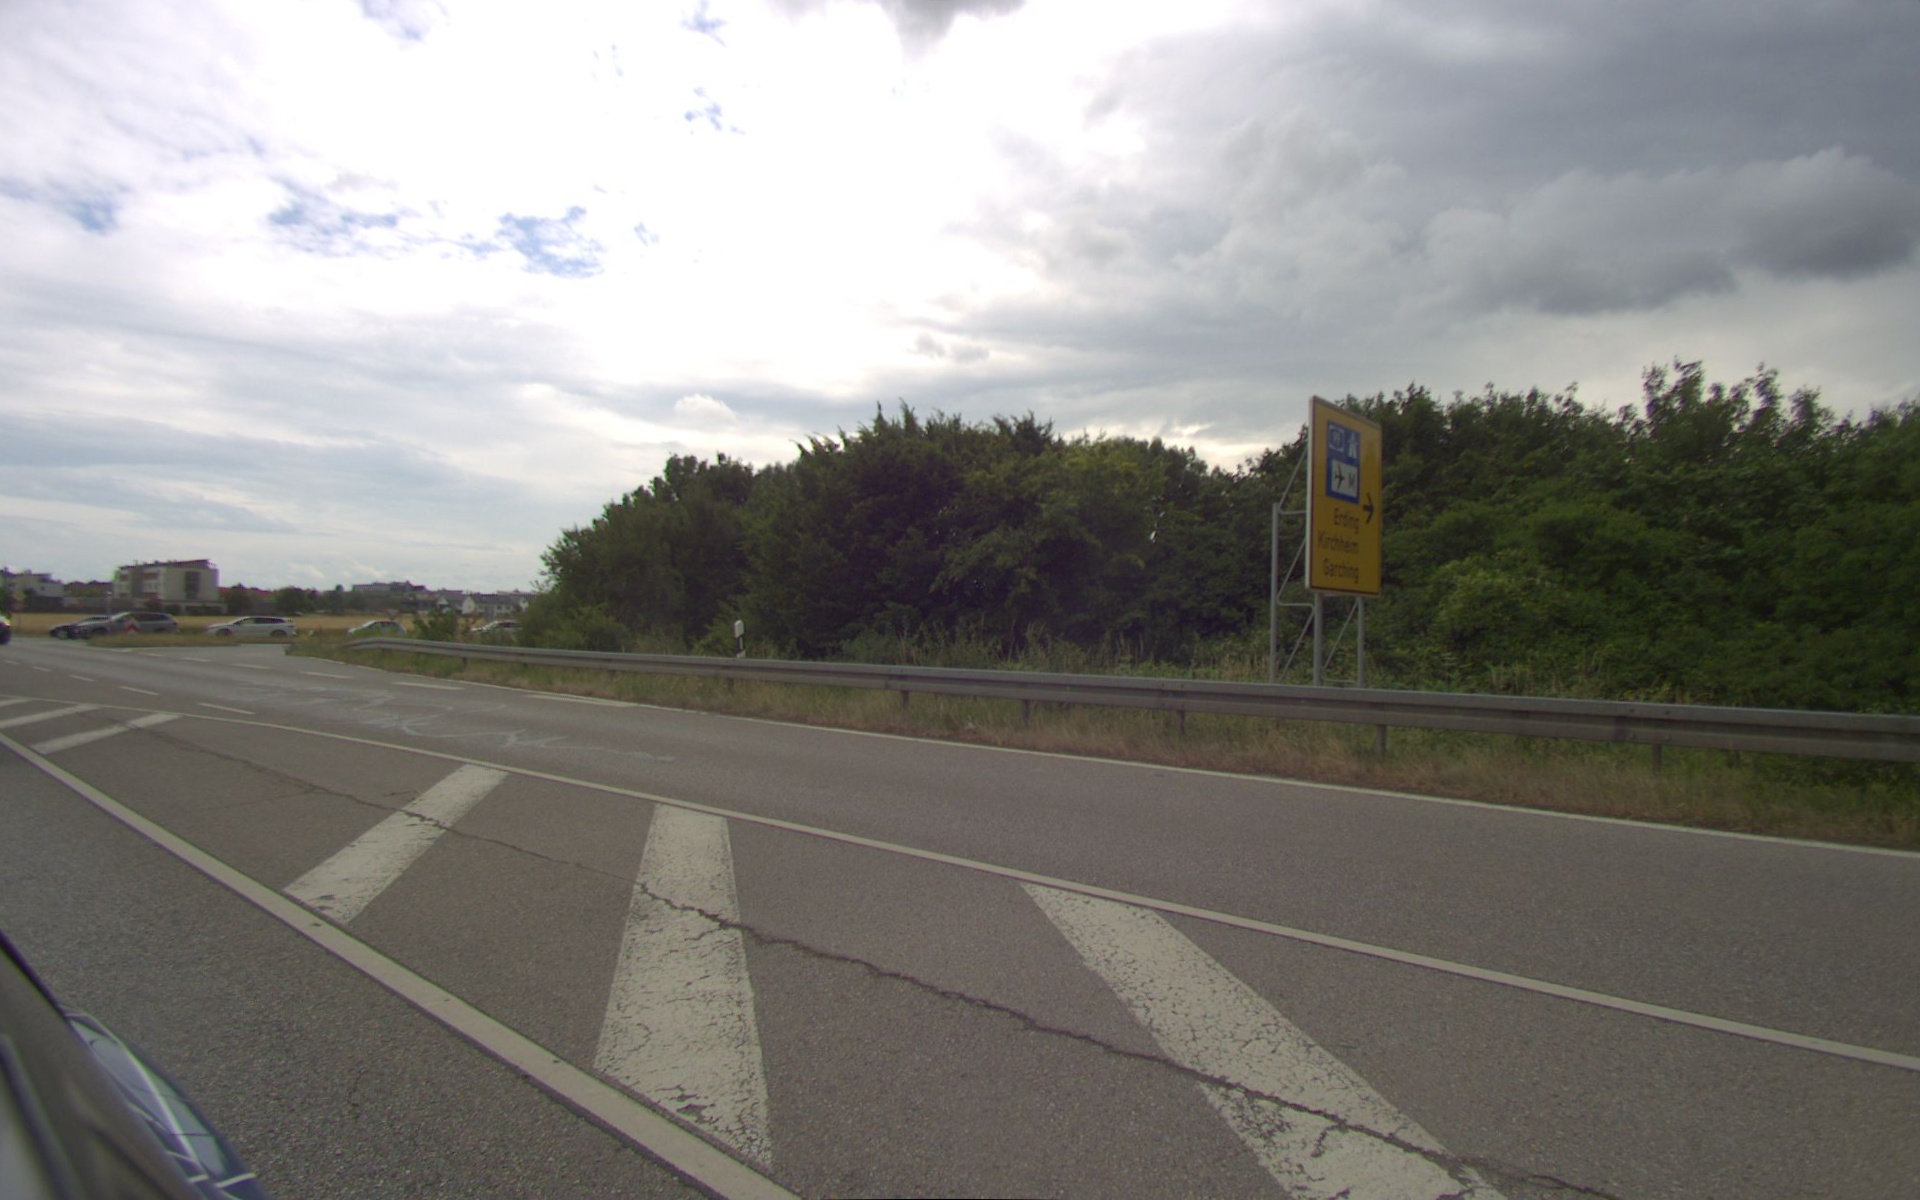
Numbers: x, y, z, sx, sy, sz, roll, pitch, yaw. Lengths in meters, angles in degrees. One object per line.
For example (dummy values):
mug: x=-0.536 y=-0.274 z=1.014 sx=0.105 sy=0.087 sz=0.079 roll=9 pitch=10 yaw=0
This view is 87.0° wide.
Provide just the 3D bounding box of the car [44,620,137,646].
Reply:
car: x=-51.768 y=1.936 z=60.285 sx=3.782 sy=1.501 sz=2.001 roll=0 pitch=-1 yaw=-2

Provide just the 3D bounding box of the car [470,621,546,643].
car: x=-32.586 y=2.272 z=72.984 sx=4.607 sy=1.510 sz=2.002 roll=1 pitch=-2 yaw=-42

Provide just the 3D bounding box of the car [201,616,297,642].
car: x=-43.922 y=1.787 z=62.565 sx=4.607 sy=1.510 sz=2.002 roll=1 pitch=-2 yaw=-42

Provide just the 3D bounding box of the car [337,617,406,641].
car: x=-38.950 y=1.914 z=67.020 sx=3.662 sy=1.510 sz=1.732 roll=1 pitch=-2 yaw=-42

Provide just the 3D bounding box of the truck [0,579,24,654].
truck: x=-50.192 y=0.834 z=50.090 sx=7.557 sy=3.589 sz=2.910 roll=-1 pitch=0 yaw=24

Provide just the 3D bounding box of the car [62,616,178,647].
car: x=-48.042 y=1.785 z=57.976 sx=1.996 sy=1.702 sz=4.758 roll=-1 pitch=-1 yaw=36
